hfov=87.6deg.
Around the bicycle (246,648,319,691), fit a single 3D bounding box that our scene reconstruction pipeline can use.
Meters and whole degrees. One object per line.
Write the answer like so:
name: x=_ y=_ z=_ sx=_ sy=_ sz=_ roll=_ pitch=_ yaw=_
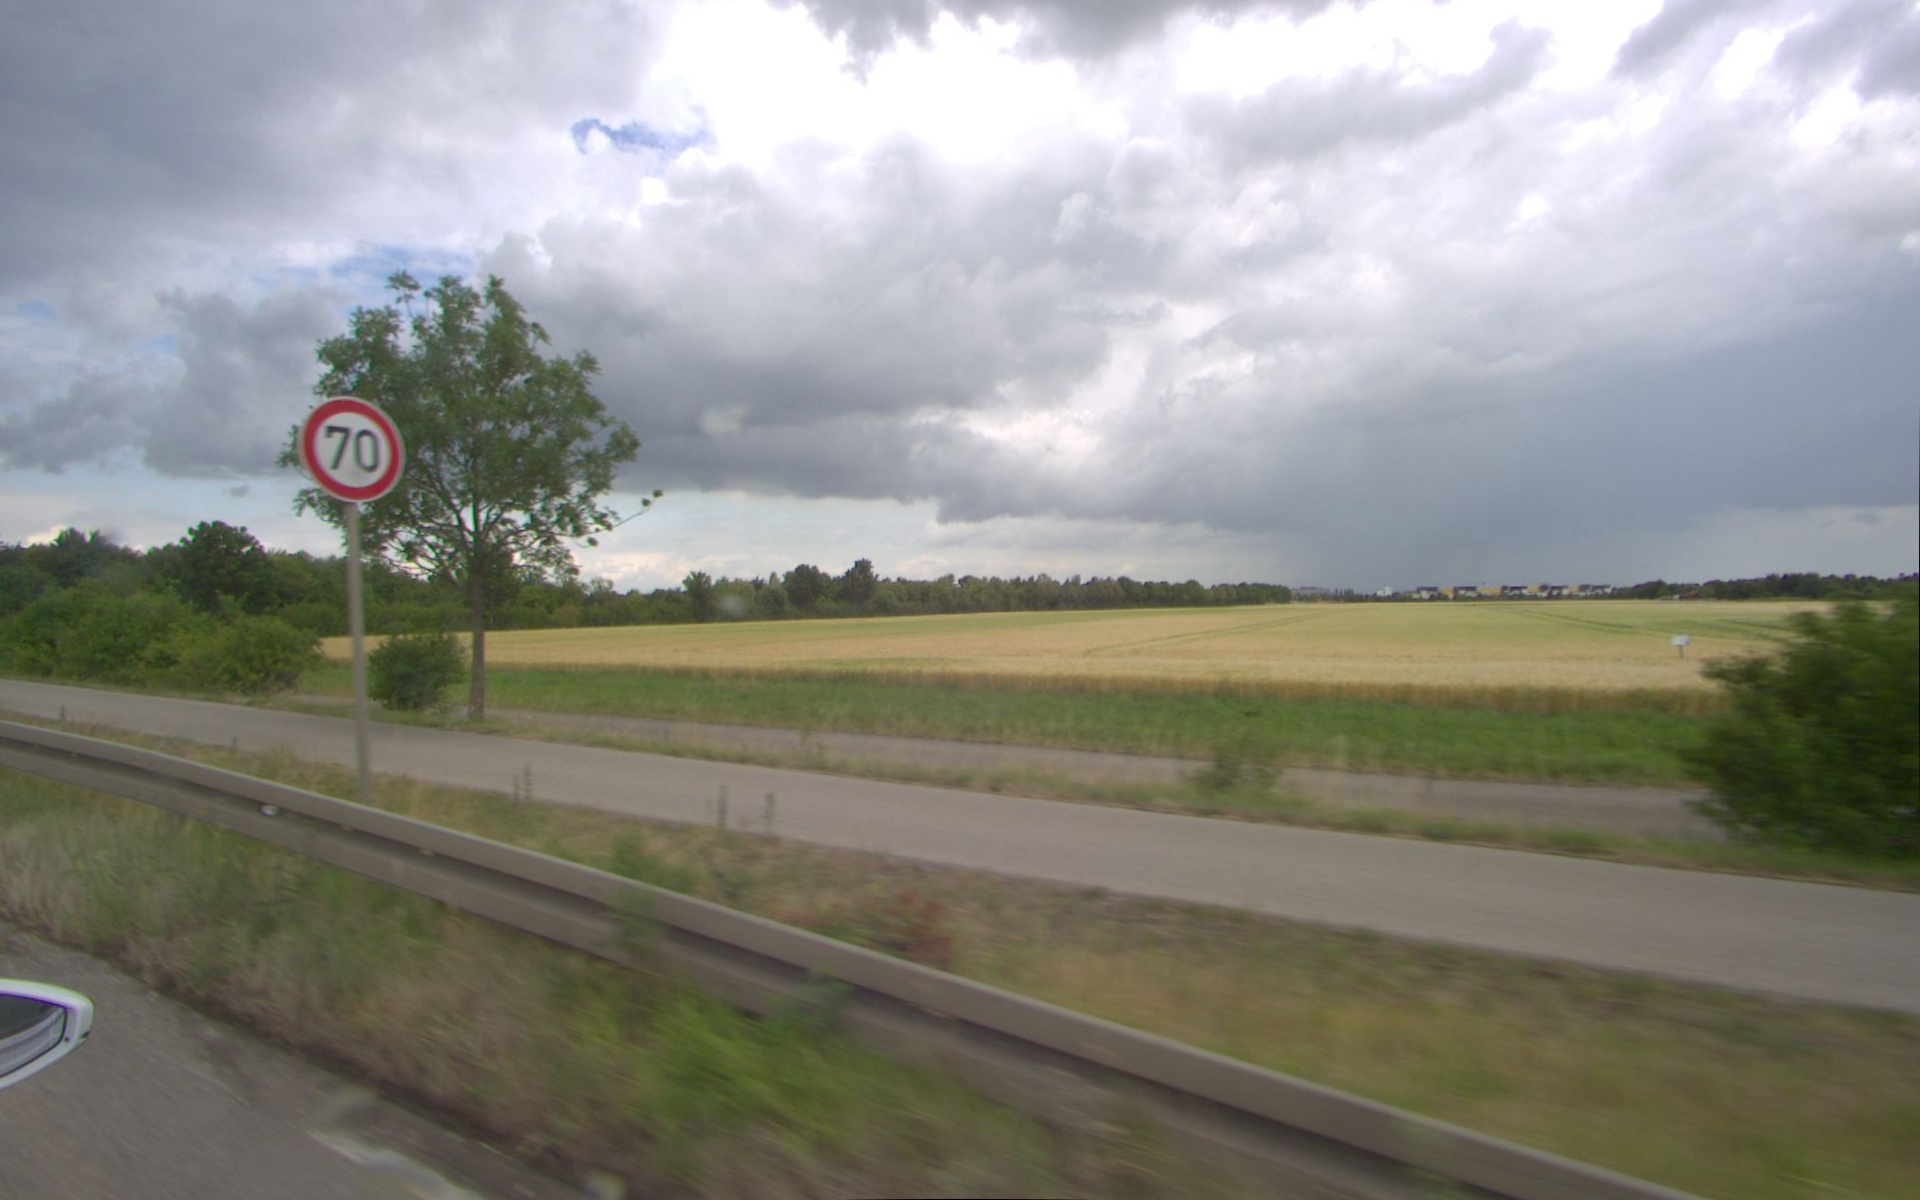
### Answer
bicycle: x=-19.373 y=1.968 z=28.592 sx=2.790 sy=1.153 sz=0.655 roll=-1 pitch=-2 yaw=32
